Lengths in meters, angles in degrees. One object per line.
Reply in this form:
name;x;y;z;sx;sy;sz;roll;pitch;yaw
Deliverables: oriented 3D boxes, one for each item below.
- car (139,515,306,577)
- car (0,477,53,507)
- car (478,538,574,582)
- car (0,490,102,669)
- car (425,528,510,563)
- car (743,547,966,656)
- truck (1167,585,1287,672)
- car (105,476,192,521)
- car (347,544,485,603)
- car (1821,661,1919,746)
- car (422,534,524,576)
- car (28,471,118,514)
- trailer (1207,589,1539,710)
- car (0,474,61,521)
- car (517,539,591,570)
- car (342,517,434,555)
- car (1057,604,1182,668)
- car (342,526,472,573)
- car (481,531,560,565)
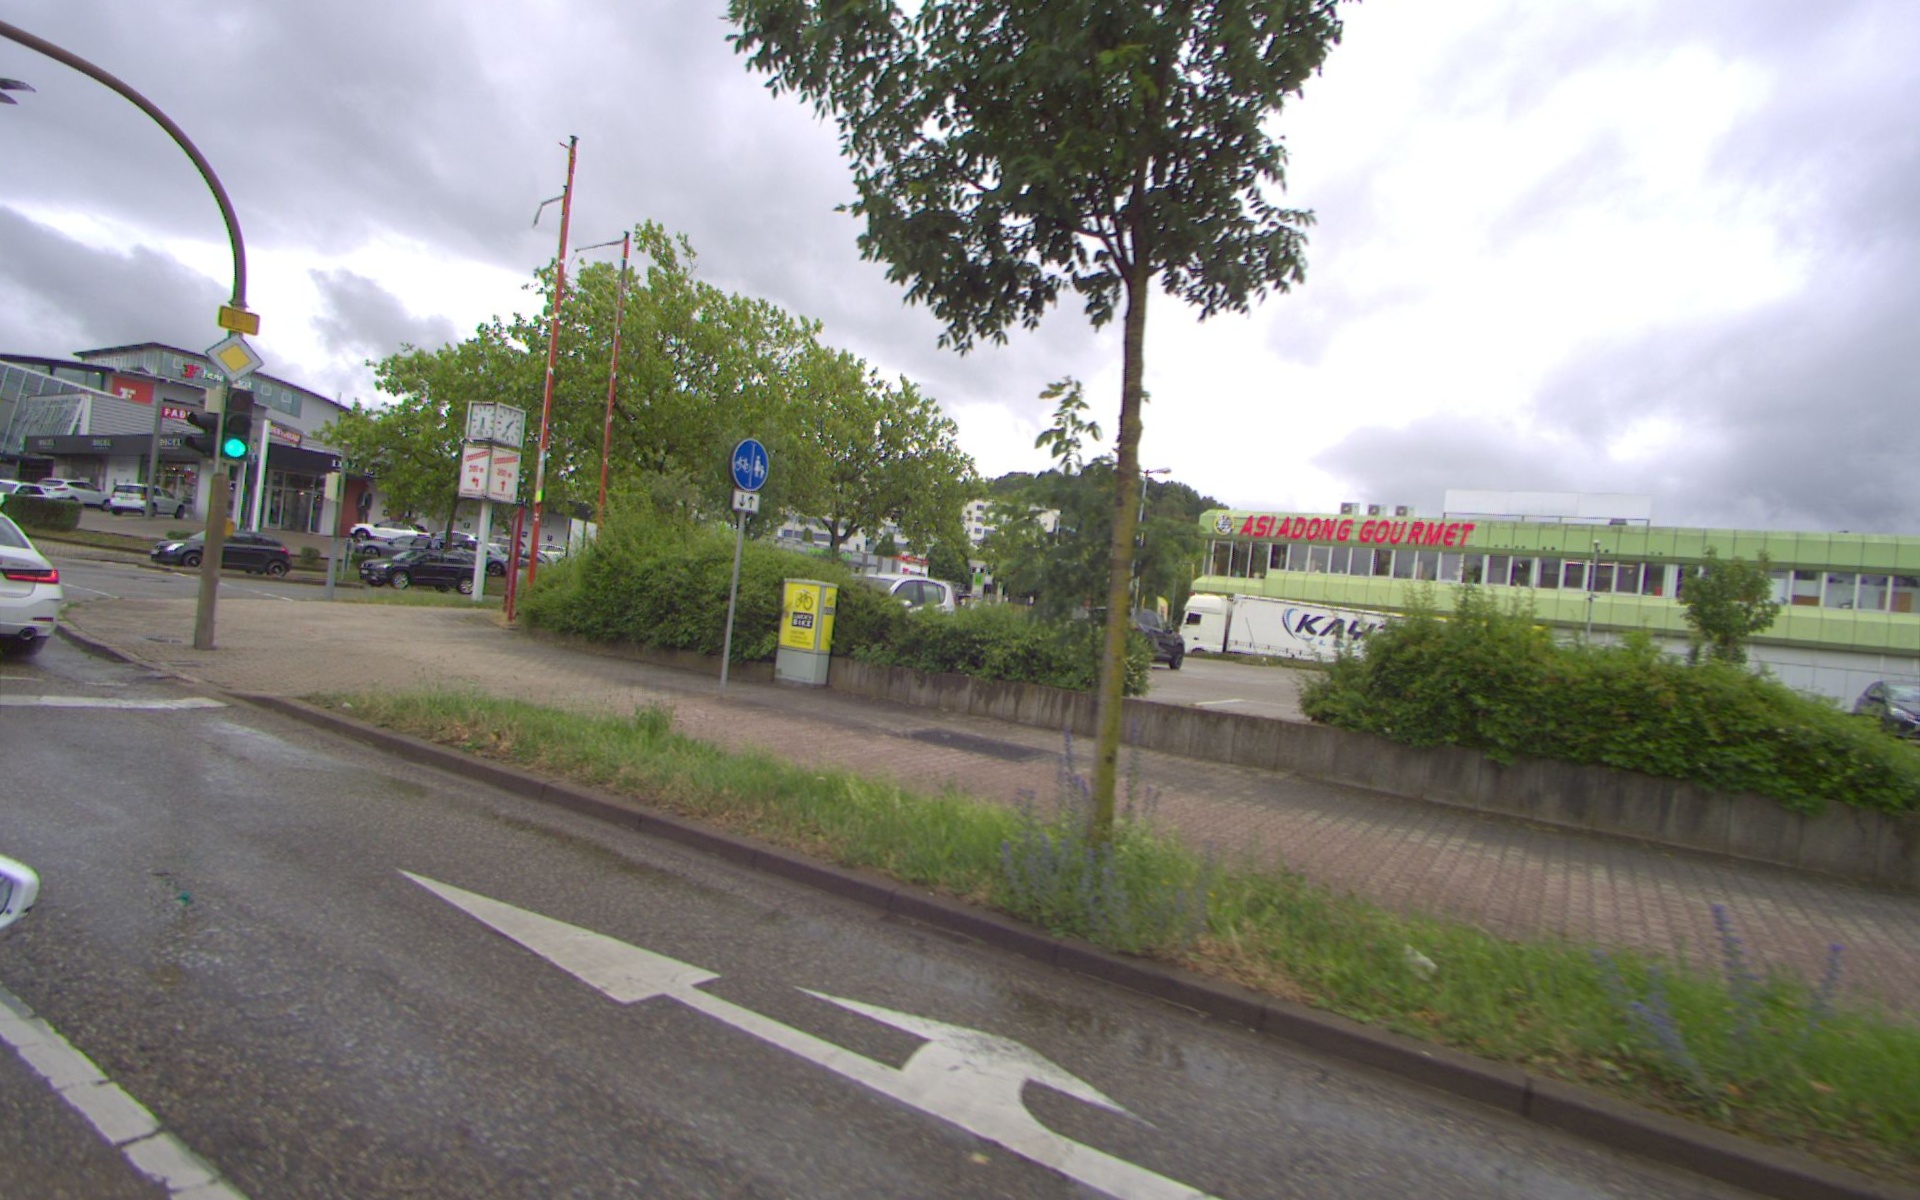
car;-24.153;-1.736;33.099;1.788;1.507;3.983;6;-1;32
car;-59.853;-6.890;63.352;1.799;1.487;4.150;7;0;-6
car;-23.046;-2.100;53.587;4.155;1.596;2.000;7;-3;-8
car;-10.611;-0.437;9.900;4.542;1.561;1.806;6;-3;31
car;-29.561;-3.254;60.437;4.080;1.499;1.736;7;0;-5
car;-1.732;0.096;17.733;1.629;1.459;3.990;7;-1;34
truck;14.211;1.511;53.525;5.051;3.759;3.158;8;-1;32
car;-43.007;-5.324;53.440;1.709;1.792;4.146;7;0;-11
car;-20.552;-0.978;38.157;1.712;1.565;4.144;5;-3;37
car;22.809;2.551;24.357;1.966;1.800;4.574;7;-1;30
car;-24.508;-2.232;50.791;4.083;1.394;1.983;7;-3;-8
car;-51.212;-6.180;58.185;1.708;1.792;4.149;7;0;-7
trailer;20.002;2.296;49.790;14.568;3.759;3.158;8;-1;33
car;-38.265;-4.188;40.065;1.903;1.595;4.273;7;0;-16
car;-26.657;-2.971;66.102;4.083;1.499;1.735;7;0;-9
car;-32.575;-3.627;57.408;4.083;1.499;1.735;7;0;-9
car;4.698;1.078;29.130;1.968;1.459;3.990;7;-1;34
car;-26.193;-2.369;47.817;4.930;1.504;1.995;7;0;-13
car;-27.478;-3.257;62.984;4.083;1.499;1.735;7;0;-9
